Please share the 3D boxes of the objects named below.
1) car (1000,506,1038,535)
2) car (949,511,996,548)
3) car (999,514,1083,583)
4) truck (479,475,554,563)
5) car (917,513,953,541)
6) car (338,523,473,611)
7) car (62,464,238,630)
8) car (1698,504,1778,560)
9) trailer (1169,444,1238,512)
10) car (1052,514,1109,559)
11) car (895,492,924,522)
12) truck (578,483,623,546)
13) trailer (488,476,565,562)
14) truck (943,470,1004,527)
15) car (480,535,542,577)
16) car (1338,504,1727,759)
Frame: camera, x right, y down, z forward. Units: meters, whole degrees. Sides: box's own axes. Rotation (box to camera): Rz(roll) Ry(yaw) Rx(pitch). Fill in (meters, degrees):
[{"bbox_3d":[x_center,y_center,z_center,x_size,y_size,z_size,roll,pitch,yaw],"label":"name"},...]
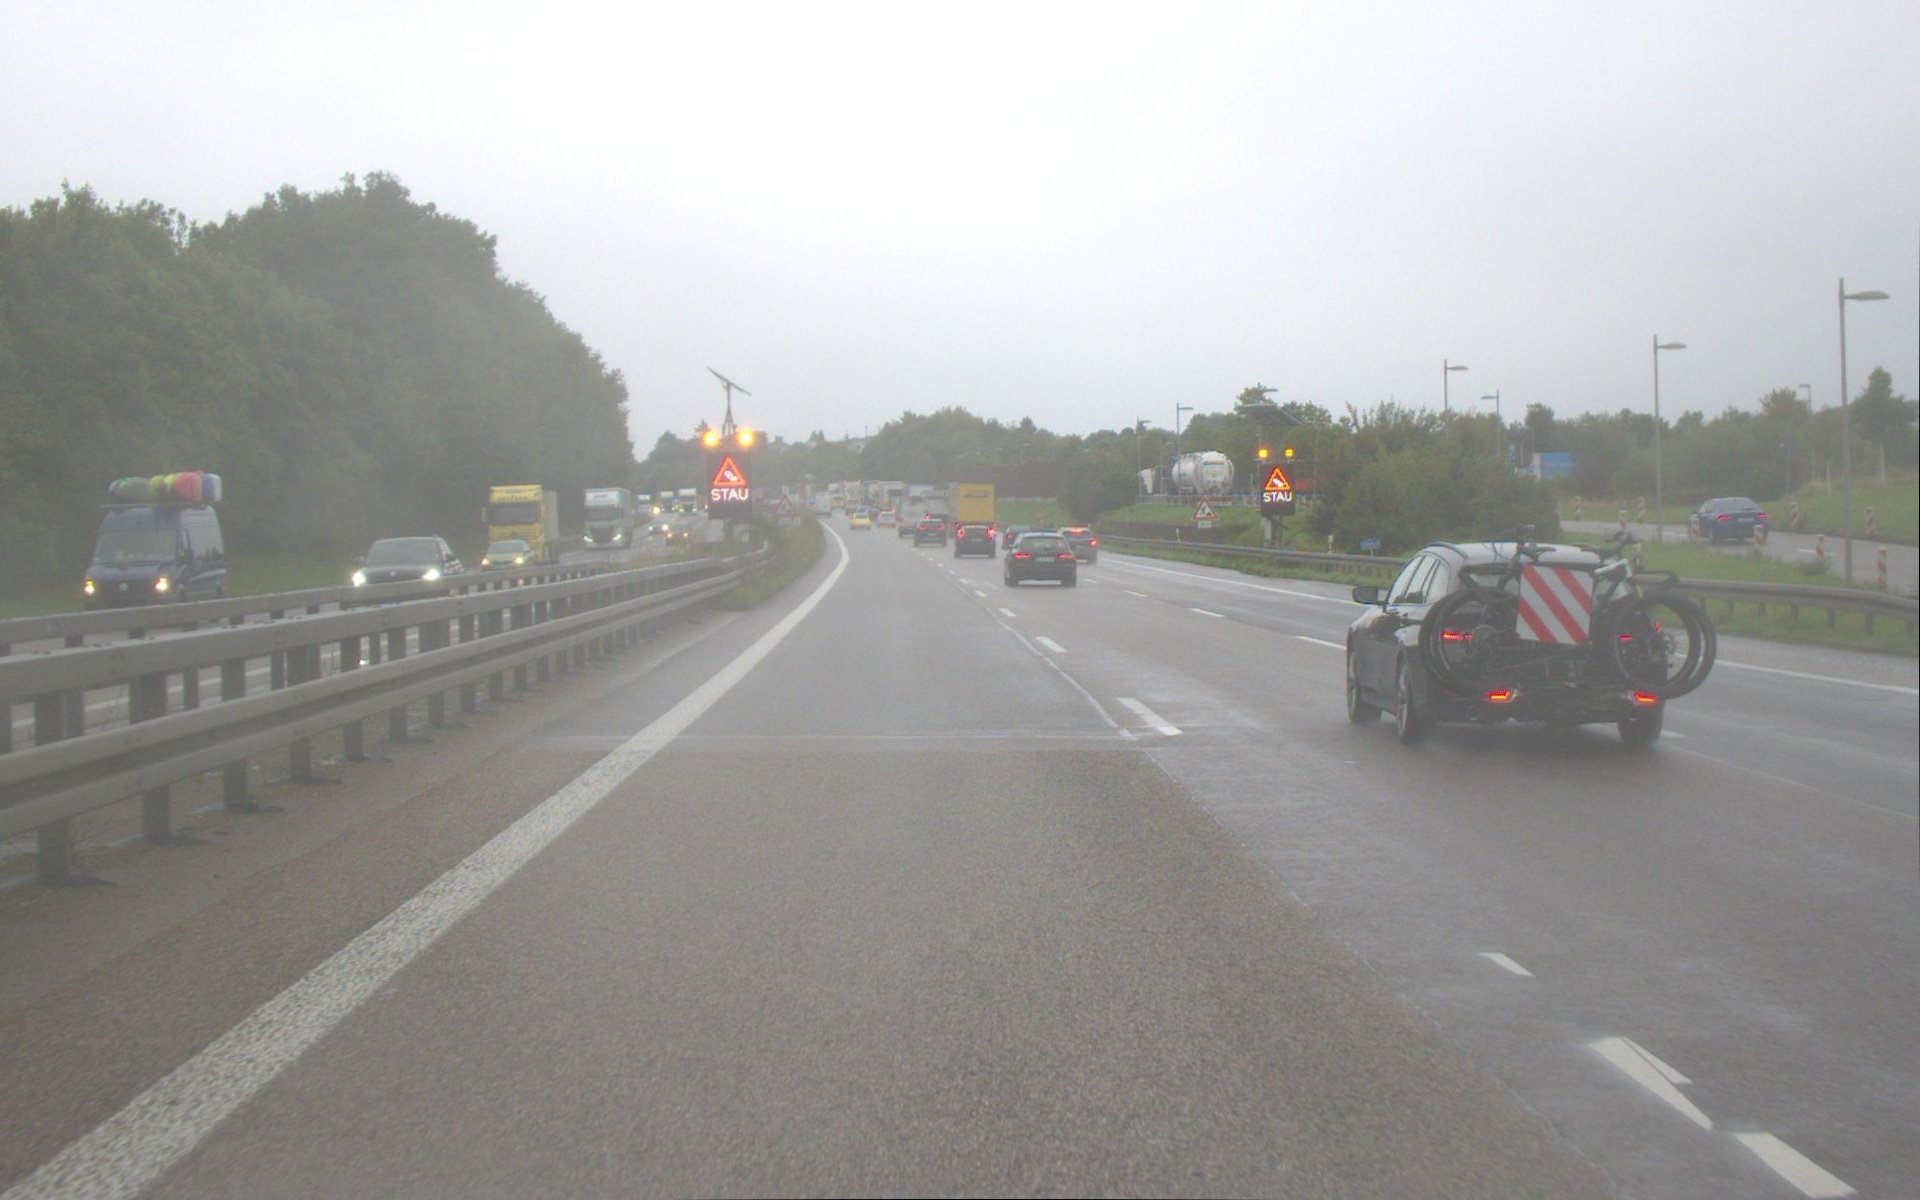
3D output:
[{"bbox_3d":[3.462,-4.705,203.002,1.993,1.623,4.001,-1,2,-2],"label":"car"},{"bbox_3d":[0.553,-3.225,157.294,1.993,1.623,4.001,-1,2,-2],"label":"car"},{"bbox_3d":[2.139,-1.403,92.050,1.993,1.755,4.001,-1,2,-2],"label":"car"},{"bbox_3d":[-21.335,-3.923,165.652,2.762,4.041,6.158,-3,1,-2],"label":"truck"},{"bbox_3d":[-1.514,-4.325,203.661,1.993,1.623,4.001,-1,2,-2],"label":"car"},{"bbox_3d":[-11.061,-0.690,68.877,1.923,1.650,4.791,-2,1,-1],"label":"car"},{"bbox_3d":[-17.202,-1.155,73.319,2.254,3.316,6.176,-2,1,-1],"label":"car"},{"bbox_3d":[24.797,-2.183,109.666,1.922,1.703,4.000,-1,1,5],"label":"car"},{"bbox_3d":[15.401,-7.690,218.378,2.985,4.142,12.958,-1,2,-2],"label":"trailer"},{"bbox_3d":[4.896,-2.607,139.987,1.993,1.755,4.001,-1,2,-2],"label":"car"},{"bbox_3d":[-3.731,-6.880,254.208,1.993,2.197,4.001,-1,1,-2],"label":"car"},{"bbox_3d":[-24.407,-5.819,233.622,2.643,4.222,4.001,-1,1,-1],"label":"truck"},{"bbox_3d":[-21.508,-4.048,170.937,2.762,4.041,9.202,-3,2,-2],"label":"trailer"},{"bbox_3d":[0.918,-7.345,249.841,3.924,3.967,12.241,-1,2,-2],"label":"truck"},{"bbox_3d":[-17.371,-1.713,133.125,1.874,1.488,4.514,-2,1,-1],"label":"car"},{"bbox_3d":[4.068,0.179,25.387,2.058,1.665,5.522,0,1,1],"label":"car"}]
